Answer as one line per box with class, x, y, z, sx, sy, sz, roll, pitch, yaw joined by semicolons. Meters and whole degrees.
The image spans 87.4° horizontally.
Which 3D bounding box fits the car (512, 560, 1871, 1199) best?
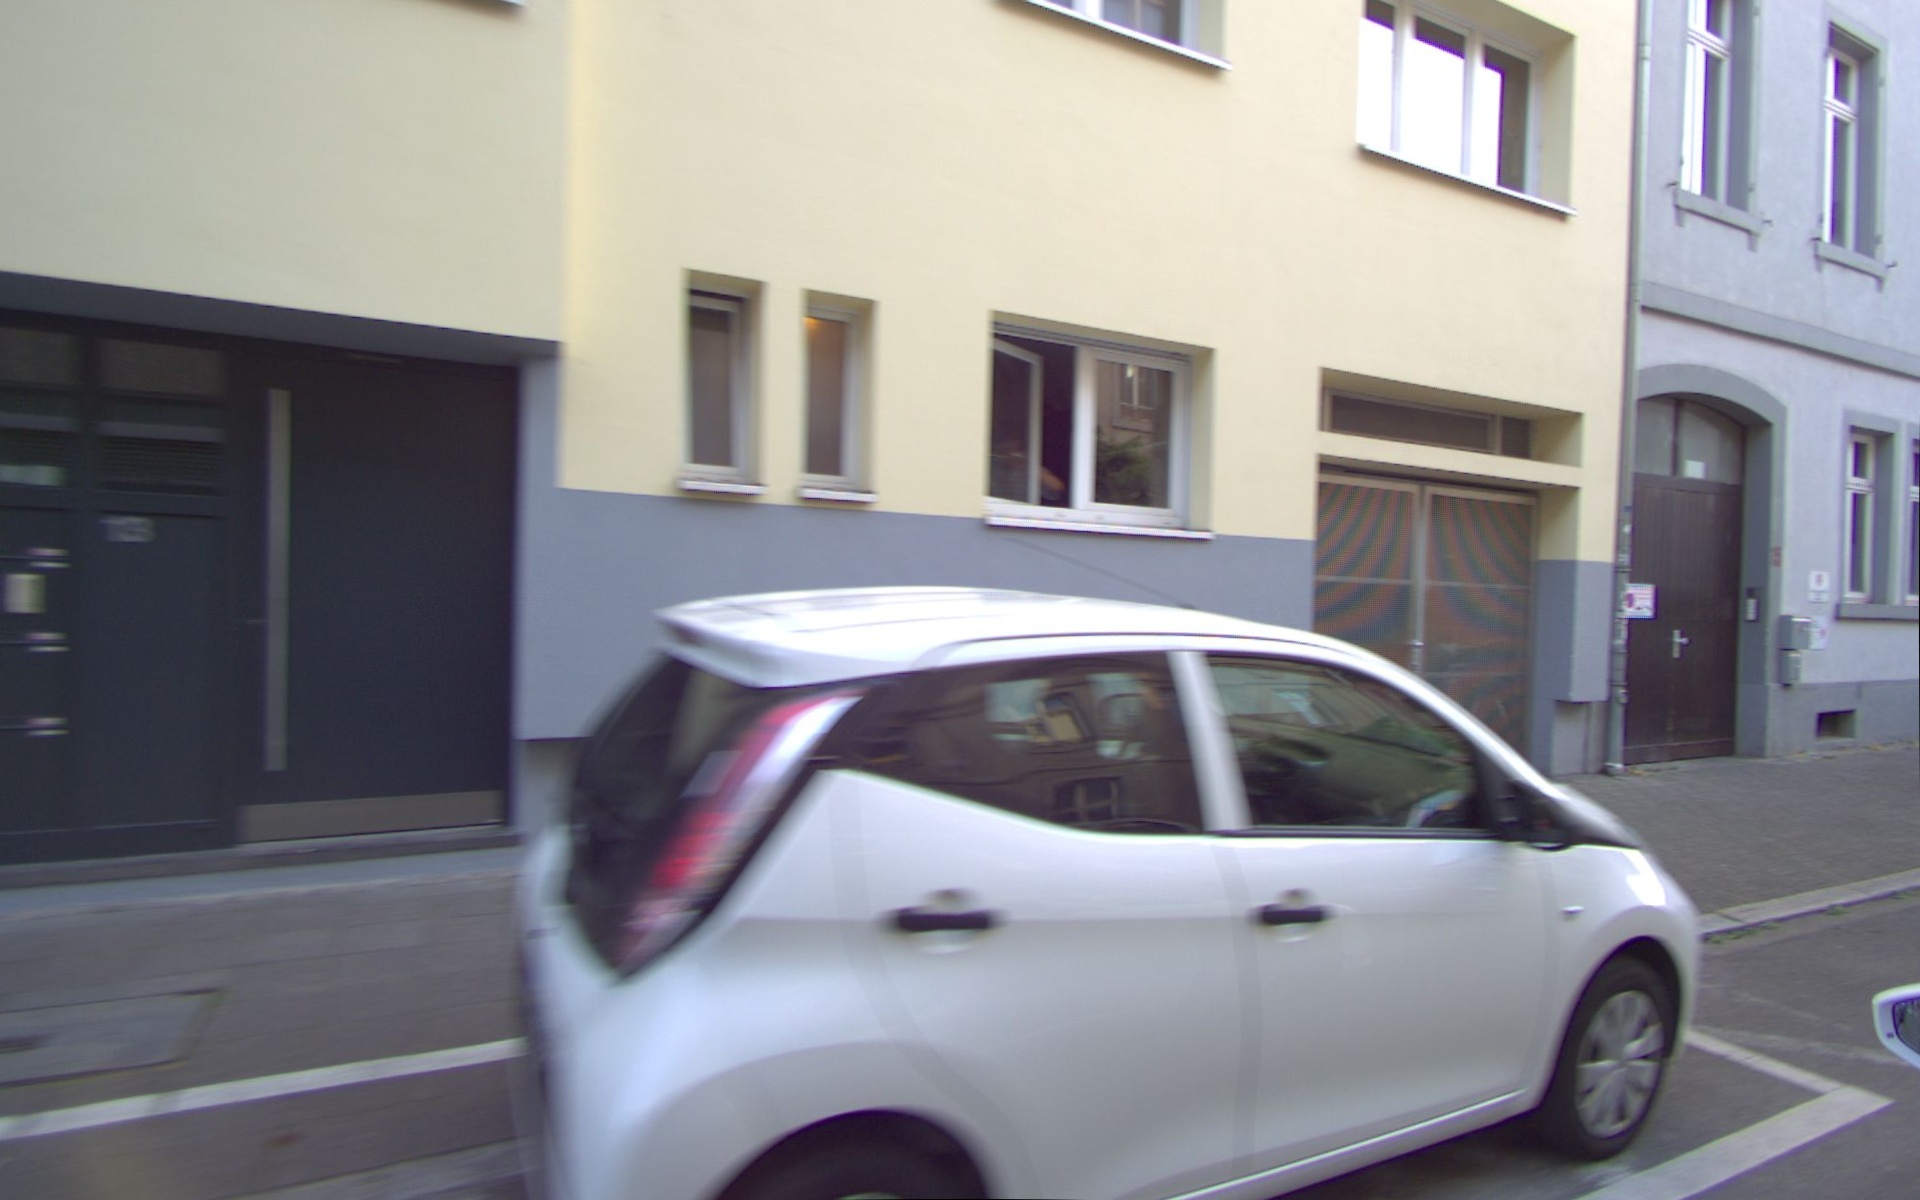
car;0.671;0.730;2.869;3.475;1.468;1.655;2;4;-27
